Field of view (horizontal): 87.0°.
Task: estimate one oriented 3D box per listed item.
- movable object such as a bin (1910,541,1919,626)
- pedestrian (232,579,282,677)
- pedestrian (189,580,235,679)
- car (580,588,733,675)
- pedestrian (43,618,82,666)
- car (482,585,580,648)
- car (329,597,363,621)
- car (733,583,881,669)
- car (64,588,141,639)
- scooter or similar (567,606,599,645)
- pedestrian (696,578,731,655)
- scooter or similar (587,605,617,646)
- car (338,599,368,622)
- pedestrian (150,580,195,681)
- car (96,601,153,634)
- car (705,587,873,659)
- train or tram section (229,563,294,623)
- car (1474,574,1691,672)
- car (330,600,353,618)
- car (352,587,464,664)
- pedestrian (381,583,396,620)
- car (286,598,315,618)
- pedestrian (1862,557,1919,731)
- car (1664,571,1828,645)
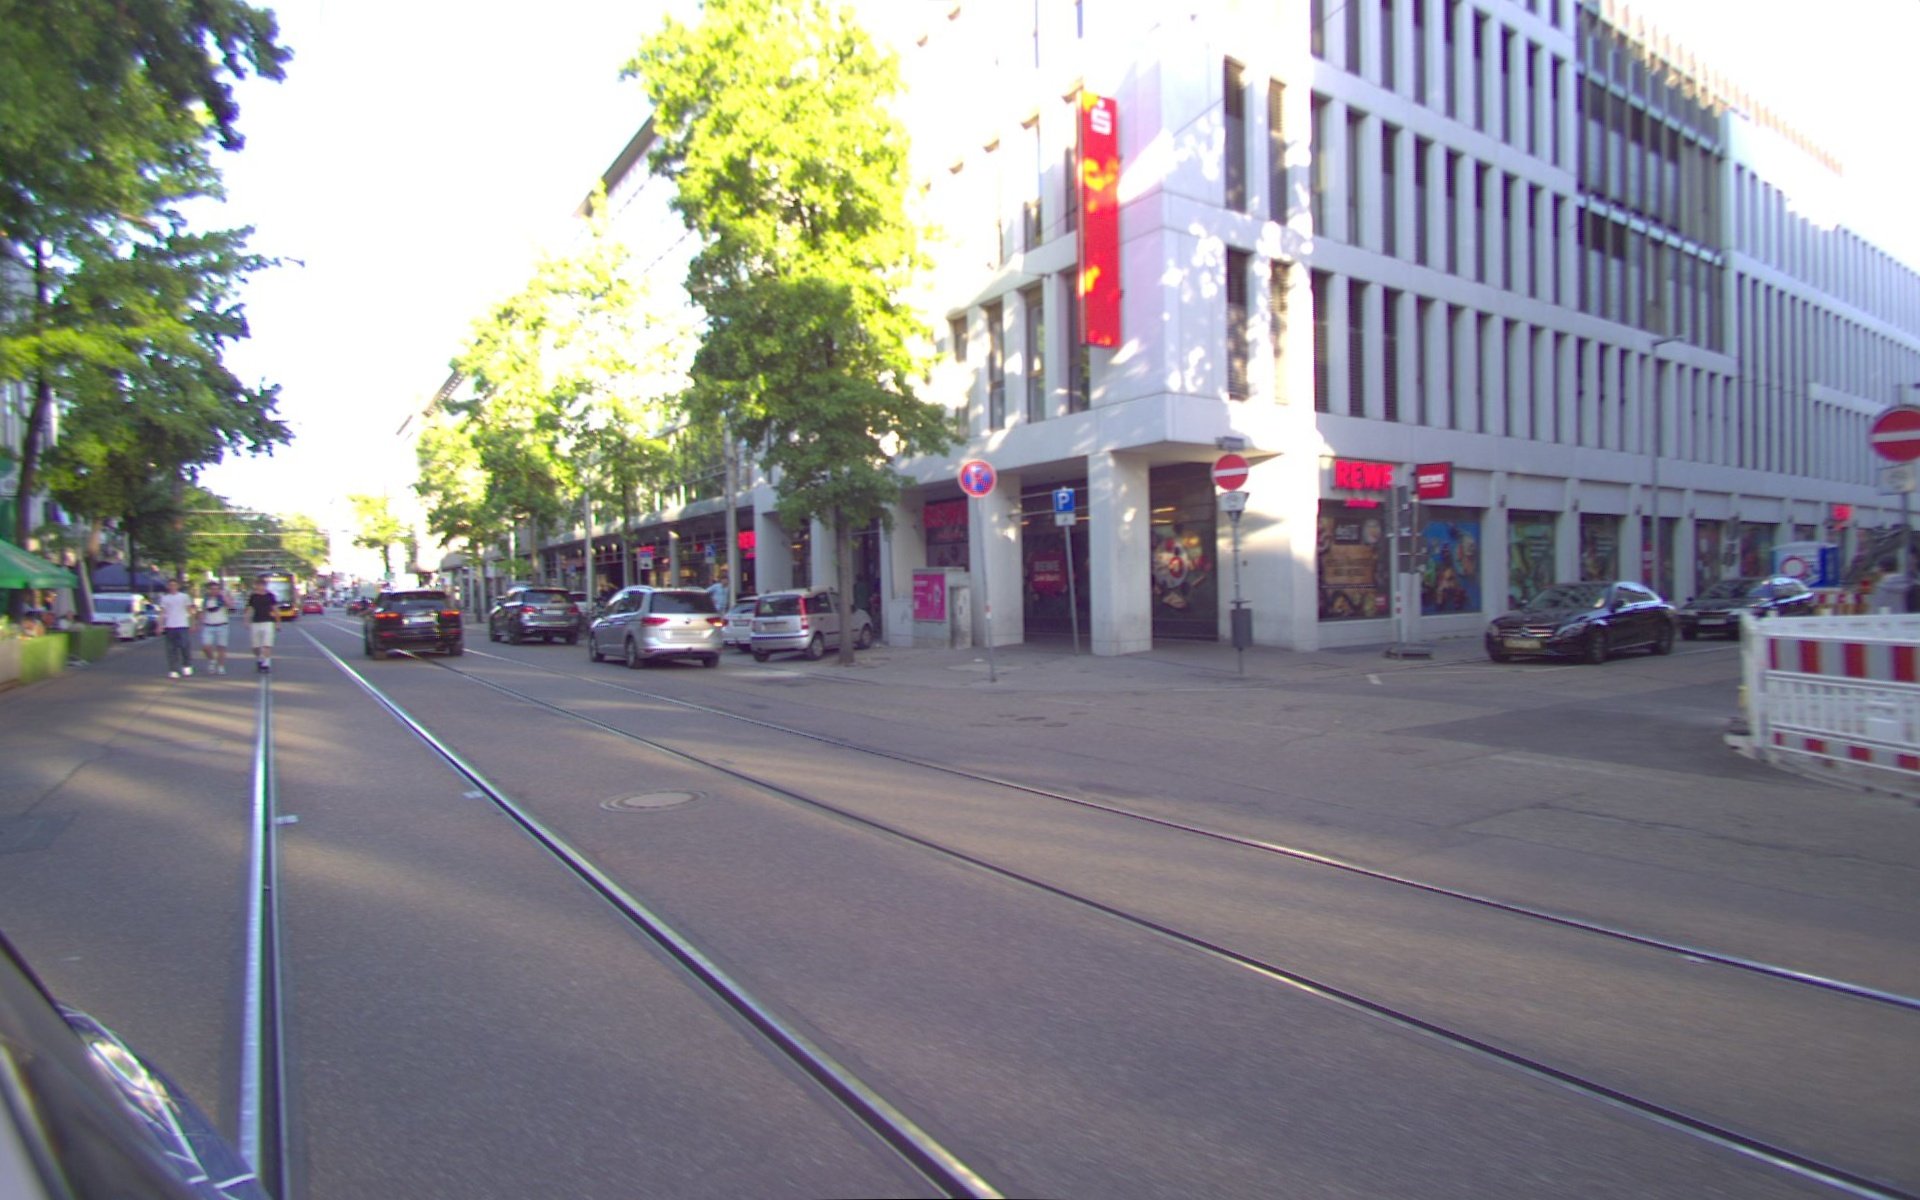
[{"bbox_3d":[31.484,-0.580,31.164,5.236,2.554,2.200,-2,0,-35],"label":"movable object such as a bin"},{"bbox_3d":[-14.430,0.564,20.783,0.760,1.948,0.875,-2,0,-32],"label":"pedestrian"},{"bbox_3d":[-15.267,0.589,20.674,0.661,1.948,0.875,-2,0,-32],"label":"pedestrian"},{"bbox_3d":[-6.377,0.619,20.985,1.859,1.624,4.211,0,-1,-34],"label":"car"},{"bbox_3d":[-25.482,1.185,28.749,0.705,1.339,0.626,-2,0,-33],"label":"pedestrian"},{"bbox_3d":[-13.418,0.504,31.515,2.006,1.820,4.211,0,-1,-34],"label":"car"},{"bbox_3d":[-43.153,0.624,71.076,1.688,1.608,4.009,-2,0,-37],"label":"car"},{"bbox_3d":[-3.340,0.533,22.726,1.777,1.571,3.377,-2,3,21],"label":"car"},{"bbox_3d":[-33.131,0.505,39.233,1.971,1.856,4.979,1,-1,-37],"label":"car"},{"bbox_3d":[-12.649,0.852,33.913,0.570,1.257,2.132,-2,0,-31],"label":"scooter or similar"},{"bbox_3d":[-6.423,0.421,26.368,0.645,1.948,0.725,-2,0,-32],"label":"pedestrian"},{"bbox_3d":[-11.410,0.816,32.244,0.534,1.257,1.688,-2,0,-31],"label":"scooter or similar"},{"bbox_3d":[-53.753,0.939,89.538,1.967,1.896,4.010,-2,0,-35],"label":"car"},{"bbox_3d":[-15.715,0.602,20.203,0.588,1.948,0.875,-2,0,-32],"label":"pedestrian"},{"bbox_3d":[-36.713,0.754,44.538,1.688,1.335,3.602,-2,0,-37],"label":"car"},{"bbox_3d":[-4.268,0.539,25.899,1.576,1.422,4.265,-1,3,38],"label":"car"},{"bbox_3d":[-51.597,-0.364,74.973,3.550,4.028,15.757,-2,0,-34],"label":"train or tram section"},{"bbox_3d":[11.392,0.377,18.463,3.933,1.553,1.846,-2,0,-33],"label":"car"},{"bbox_3d":[-66.656,0.982,109.060,1.967,1.896,4.010,-2,0,-34],"label":"car"},{"bbox_3d":[-13.756,0.593,25.107,2.006,1.699,4.211,-2,0,-34],"label":"car"},{"bbox_3d":[-34.223,0.082,60.581,0.618,2.200,0.765,-1,0,-37],"label":"pedestrian"},{"bbox_3d":[-63.588,0.772,97.527,2.183,1.874,4.010,-2,0,-35],"label":"car"},{"bbox_3d":[9.350,0.409,9.784,0.601,1.658,0.728,-2,0,-27],"label":"pedestrian"},{"bbox_3d":[18.498,0.162,23.792,3.933,1.553,1.846,-2,0,-33],"label":"car"}]
